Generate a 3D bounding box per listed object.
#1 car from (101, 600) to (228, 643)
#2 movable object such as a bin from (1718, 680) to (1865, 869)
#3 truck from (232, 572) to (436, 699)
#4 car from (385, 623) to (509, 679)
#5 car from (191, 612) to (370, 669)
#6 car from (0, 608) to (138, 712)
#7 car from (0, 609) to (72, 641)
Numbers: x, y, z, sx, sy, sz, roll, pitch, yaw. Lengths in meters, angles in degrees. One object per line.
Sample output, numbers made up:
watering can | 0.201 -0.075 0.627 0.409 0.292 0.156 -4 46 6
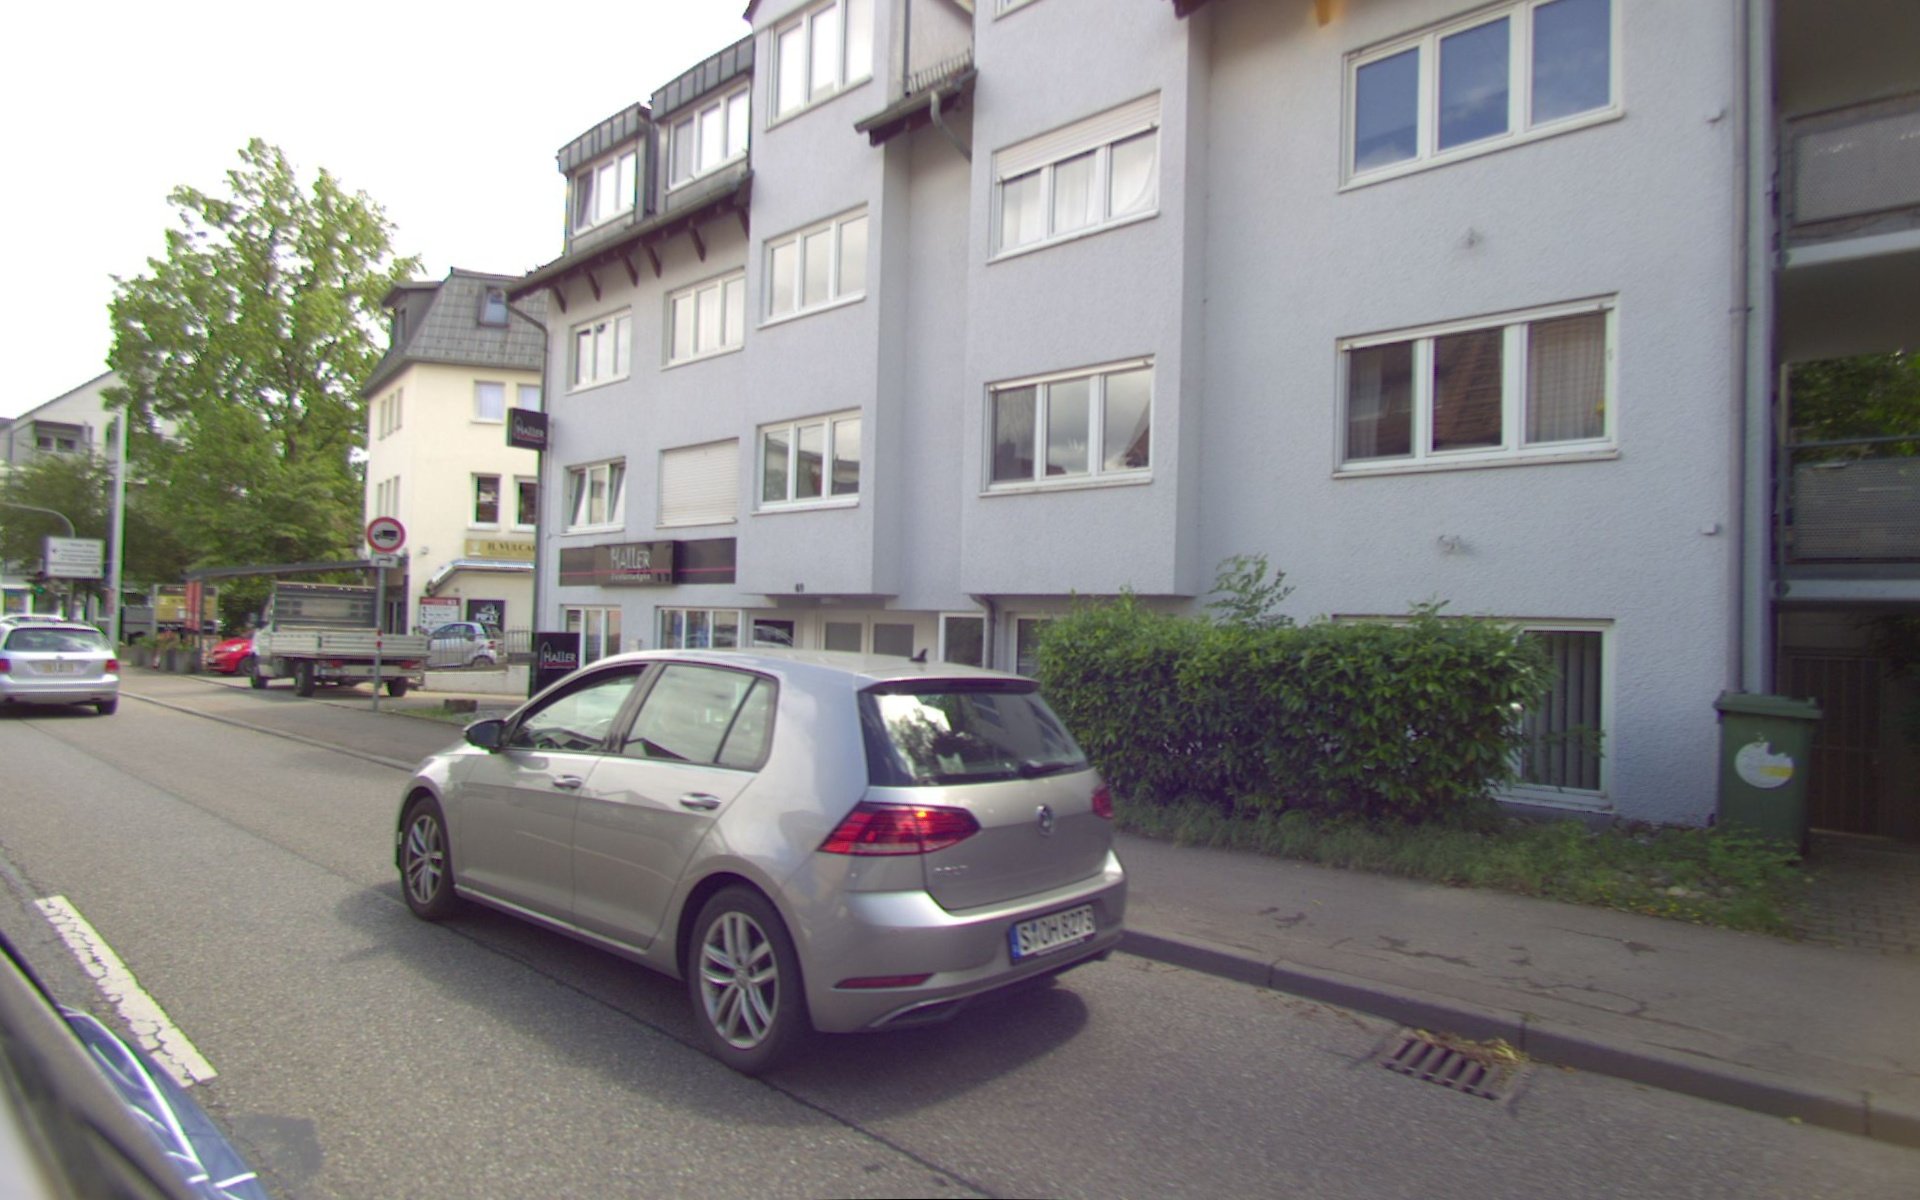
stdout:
car | -39.452 1.060 50.294 2.092 2.024 4.577 -1 -2 38
movable object such as a bin | 5.430 1.098 6.629 0.712 1.084 0.634 0 -2 40
truck | -13.763 0.695 22.034 6.327 2.398 2.200 0 -2 44
car | -14.645 1.456 29.015 2.801 1.481 1.570 2 -1 -11
car | -18.524 1.078 27.711 1.802 1.436 3.658 -1 -2 37
car | -15.298 0.953 16.783 4.372 1.514 1.711 -1 -5 40
car | -45.352 1.203 48.329 1.821 1.525 4.169 -2 -3 40
